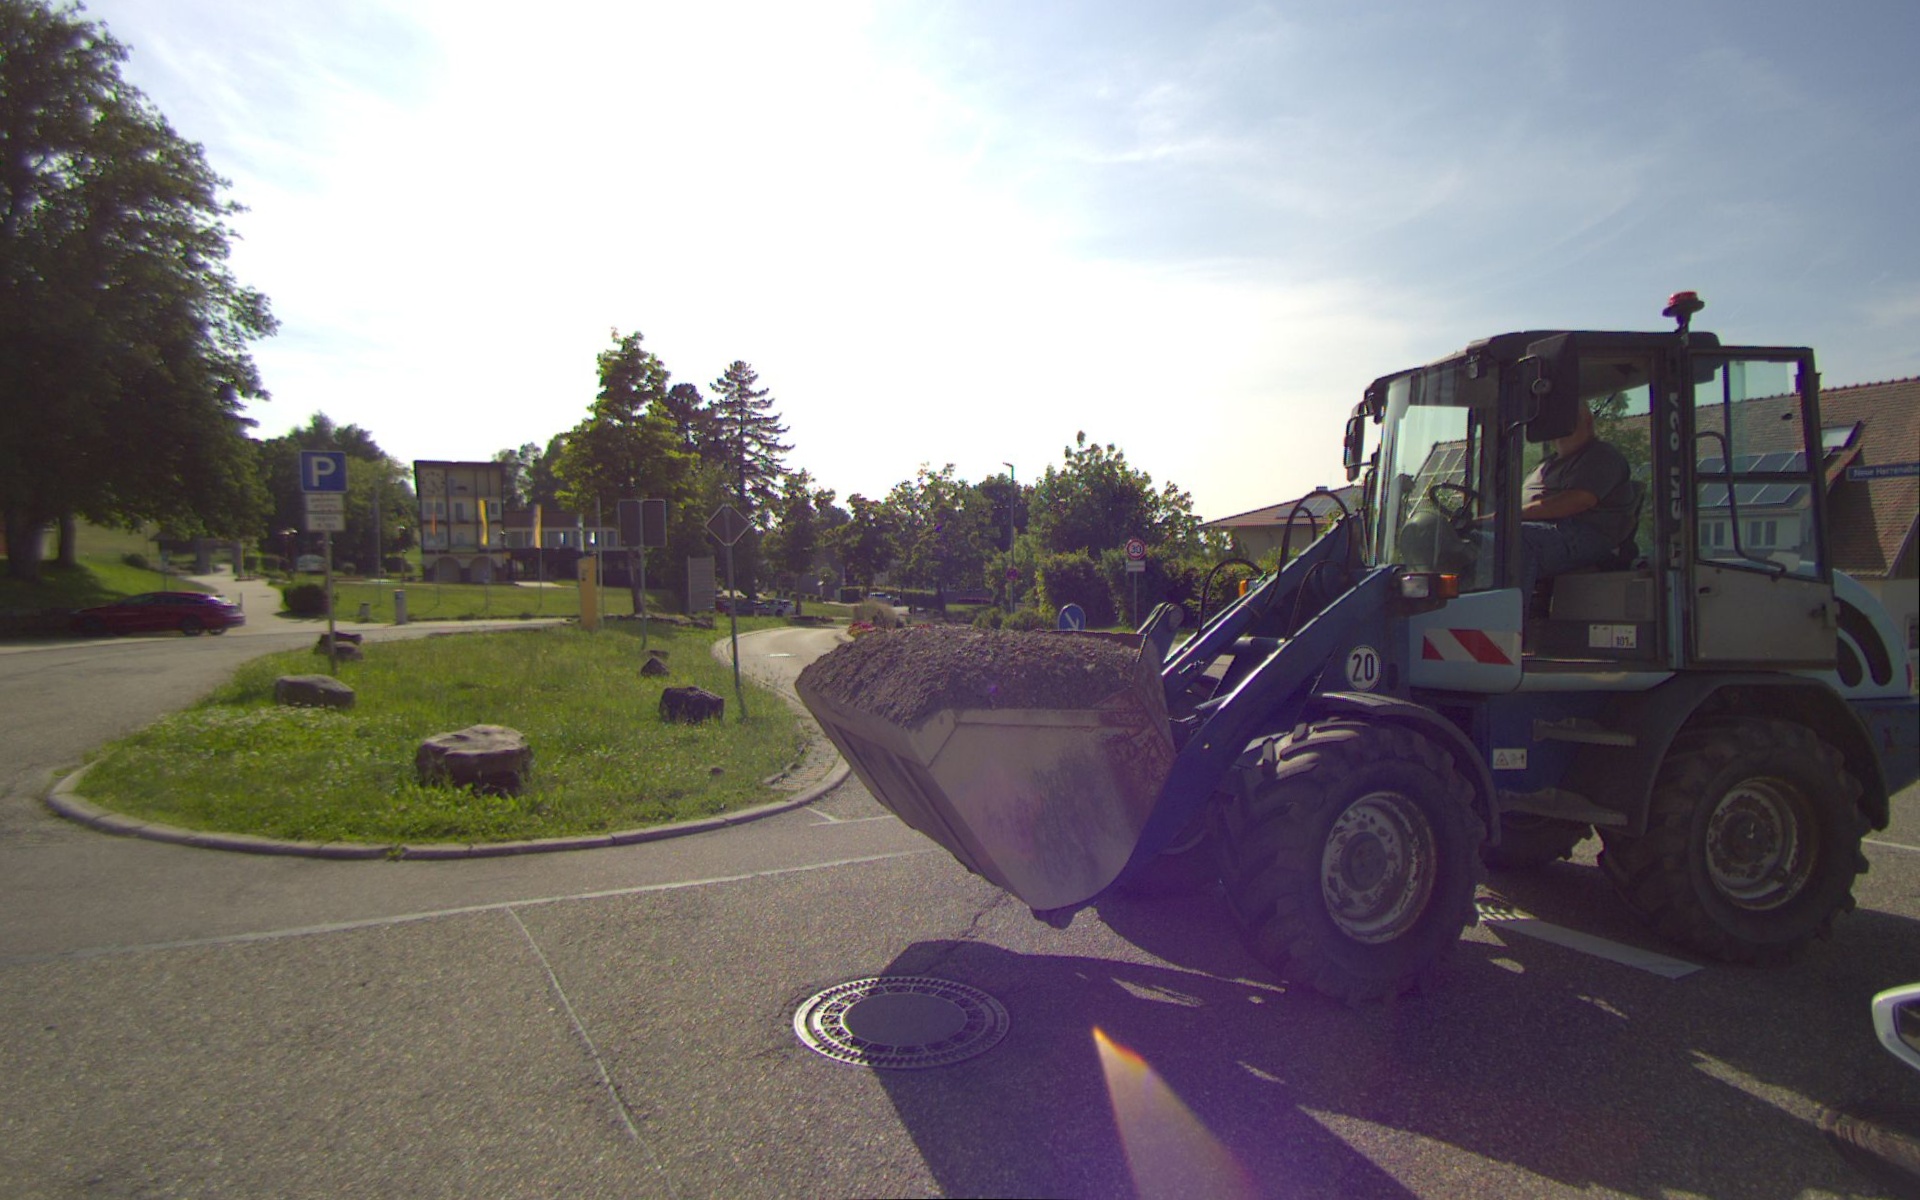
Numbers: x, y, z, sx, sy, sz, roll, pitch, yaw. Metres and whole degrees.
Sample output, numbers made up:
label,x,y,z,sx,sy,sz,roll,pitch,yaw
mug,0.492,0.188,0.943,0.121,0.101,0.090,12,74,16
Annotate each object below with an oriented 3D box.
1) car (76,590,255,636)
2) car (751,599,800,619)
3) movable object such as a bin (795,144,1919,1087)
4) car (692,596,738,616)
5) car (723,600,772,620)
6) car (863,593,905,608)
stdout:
label,x,y,z,sx,sy,sz,roll,pitch,yaw
car,-25.747,0.430,32.694,4.166,1.417,1.819,1,0,-14
car,-16.157,0.806,87.912,3.866,1.630,1.775,2,0,25
movable object such as a bin,1.878,0.065,4.644,5.020,2.806,1.993,0,1,-16
car,-19.814,0.459,81.246,3.146,1.490,1.775,2,0,23
car,-17.762,0.835,84.044,3.643,1.452,1.775,2,0,25
car,-9.097,0.059,120.066,4.678,1.555,1.982,-1,6,-33
